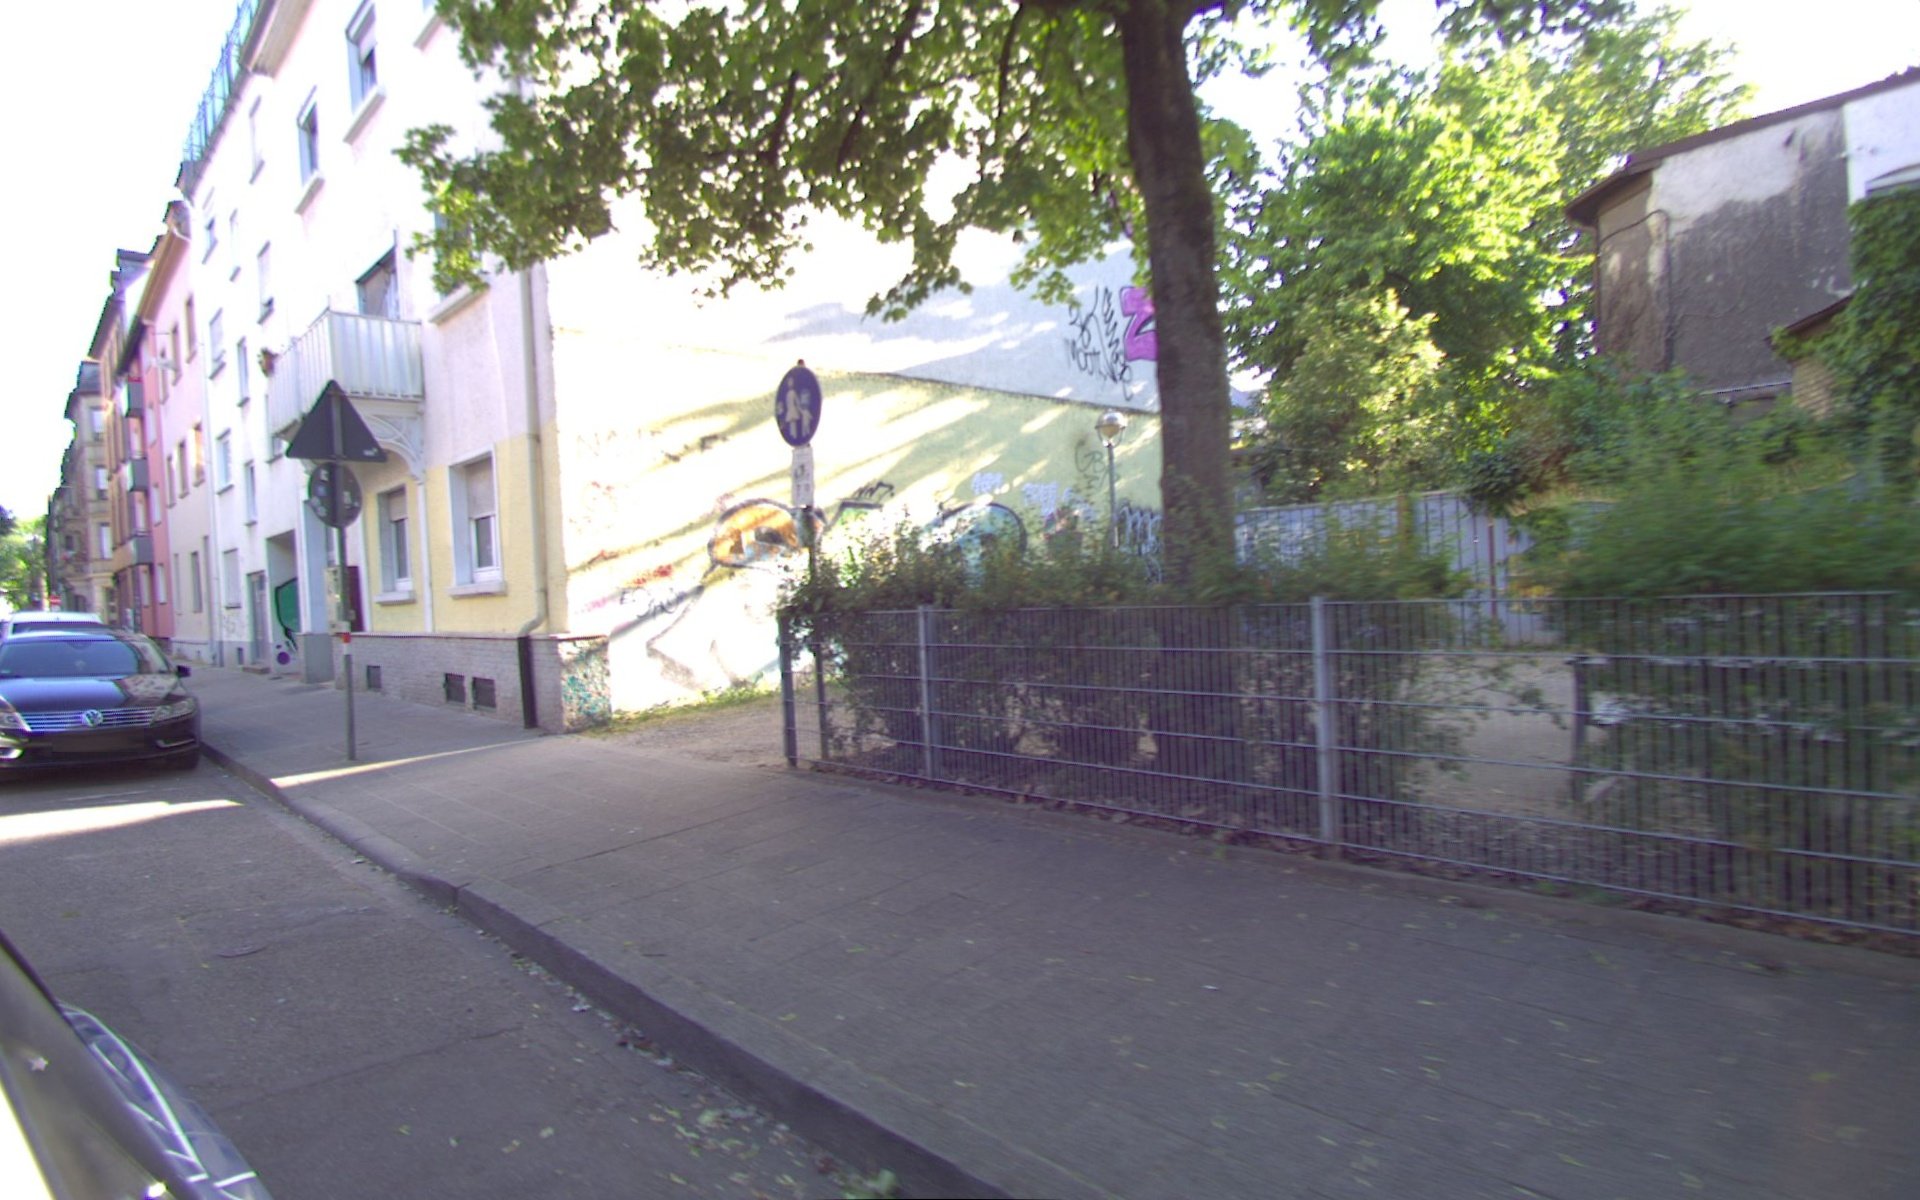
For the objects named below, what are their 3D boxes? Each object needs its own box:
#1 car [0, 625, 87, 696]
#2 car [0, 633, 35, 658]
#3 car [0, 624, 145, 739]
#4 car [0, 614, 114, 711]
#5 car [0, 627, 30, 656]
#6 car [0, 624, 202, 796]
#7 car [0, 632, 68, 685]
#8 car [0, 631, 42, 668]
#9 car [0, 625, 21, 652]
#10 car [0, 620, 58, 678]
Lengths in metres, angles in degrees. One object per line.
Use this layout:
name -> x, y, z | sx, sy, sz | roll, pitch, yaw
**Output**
car -> -21.868, 1.372, 23.948 | 1.649, 1.539, 4.092 | 0, -1, -38
car -> -58.468, 2.785, 62.609 | 1.743, 1.483, 3.936 | 1, -2, -44
car -> -12.988, 1.095, 14.720 | 1.574, 1.462, 3.490 | 0, -2, -42
car -> -18.425, 1.177, 20.410 | 1.729, 1.754, 4.317 | 1, -2, -45
car -> -62.263, 2.711, 66.433 | 1.743, 1.871, 3.996 | 1, -2, -44
car -> -9.356, 0.995, 10.584 | 1.758, 1.454, 4.396 | 1, -2, -44
car -> -28.181, 1.716, 30.520 | 1.743, 1.483, 3.819 | 1, -2, -44
car -> -42.415, 2.199, 45.380 | 1.743, 1.545, 4.106 | 1, -2, -44
car -> -76.732, 3.089, 81.363 | 1.743, 2.103, 4.267 | 1, -2, -44
car -> -31.906, 1.618, 34.373 | 1.743, 1.838, 4.106 | 1, -2, -44
